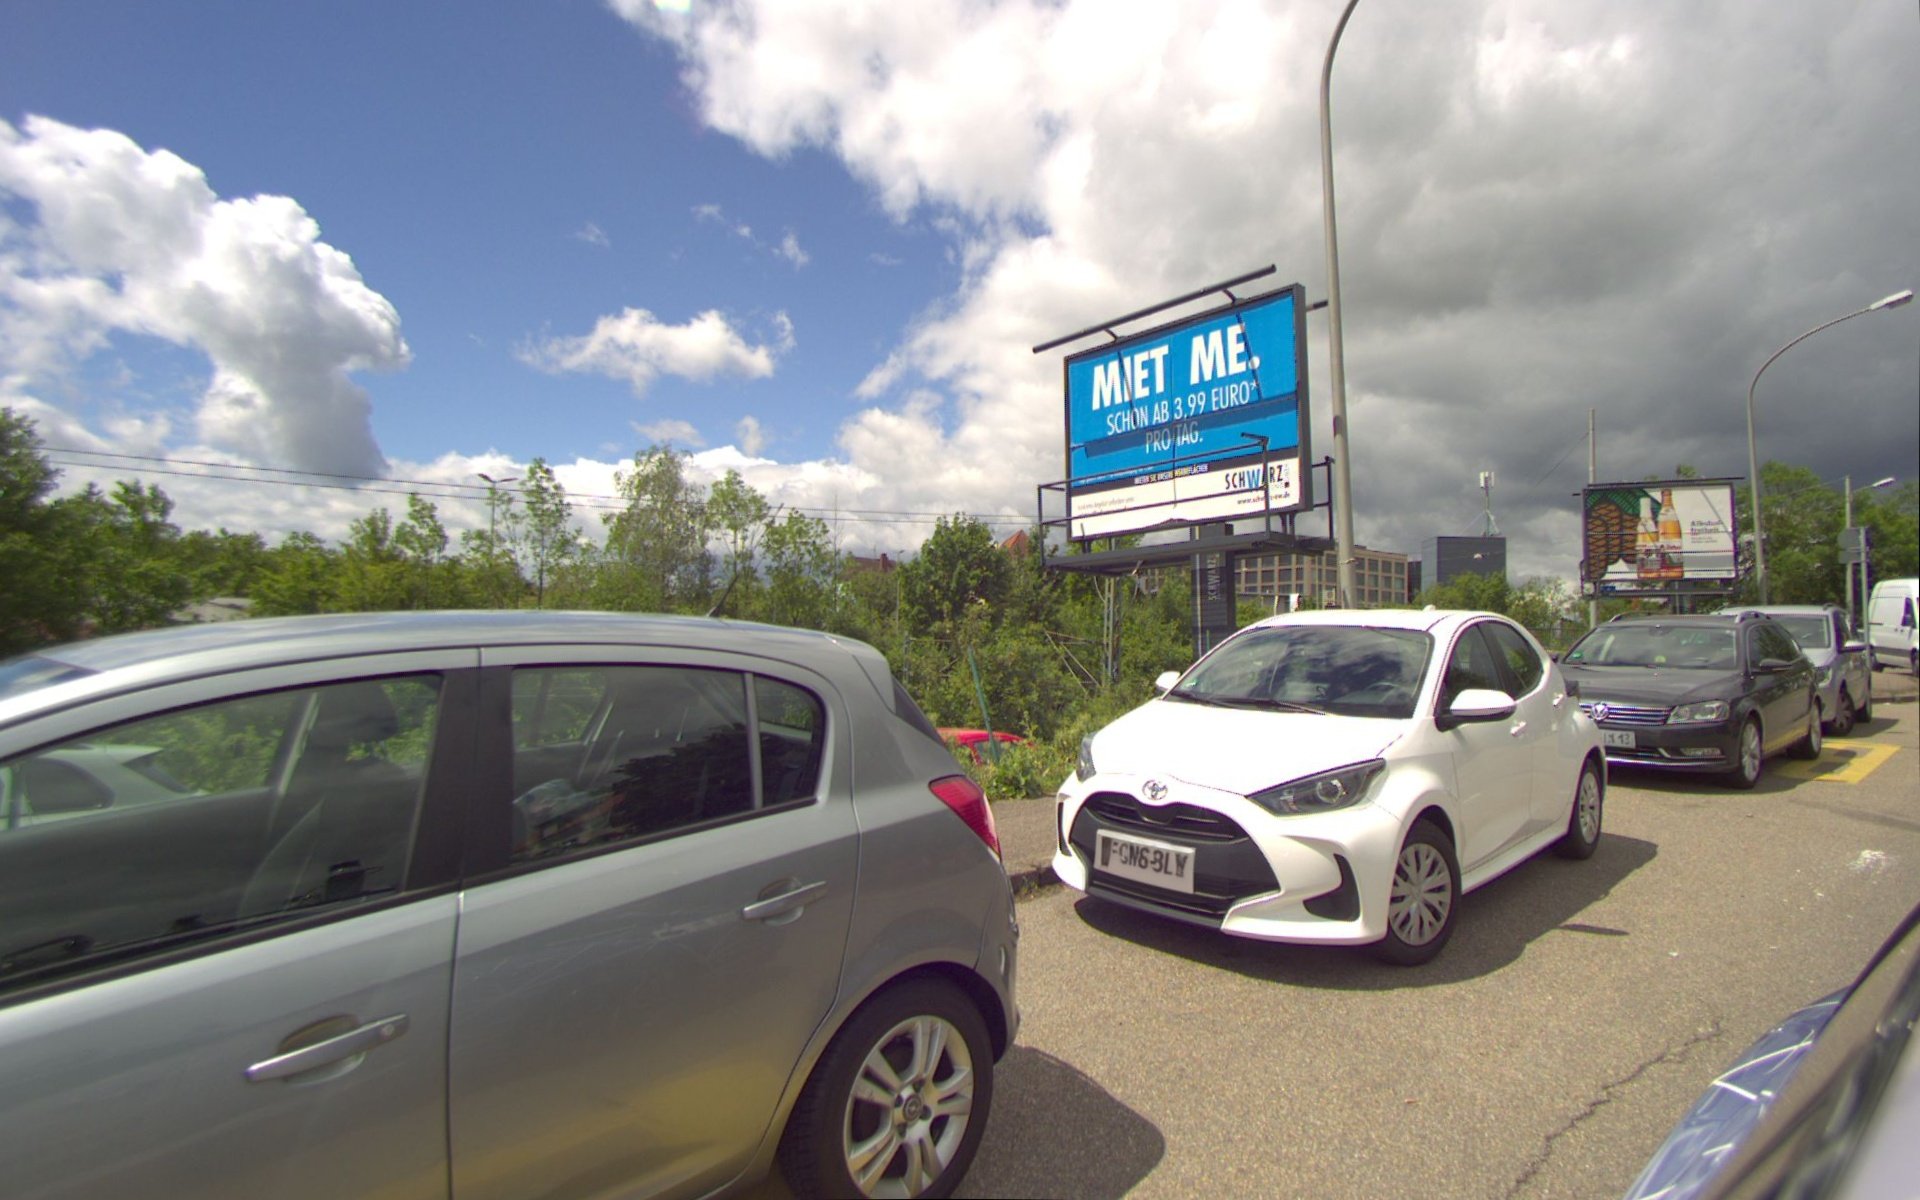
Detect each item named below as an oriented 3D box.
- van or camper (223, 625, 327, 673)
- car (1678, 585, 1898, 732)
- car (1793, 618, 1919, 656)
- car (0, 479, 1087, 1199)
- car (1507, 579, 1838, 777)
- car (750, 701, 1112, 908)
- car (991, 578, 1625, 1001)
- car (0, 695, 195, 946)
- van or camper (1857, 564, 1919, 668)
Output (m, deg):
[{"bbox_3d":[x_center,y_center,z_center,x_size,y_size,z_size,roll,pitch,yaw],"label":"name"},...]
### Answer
[{"bbox_3d":[-41.819,2.990,61.959,5.201,2.727,1.928,0,-3,-34],"label":"van or camper"},{"bbox_3d":[11.374,0.730,13.793,4.234,1.699,1.707,1,-3,-43],"label":"car"},{"bbox_3d":[43.354,1.782,48.891,4.332,1.608,1.992,2,-3,11],"label":"car"},{"bbox_3d":[-1.582,0.641,2.036,3.633,1.530,1.707,1,-3,-43],"label":"car"},{"bbox_3d":[7.101,0.644,9.884,4.494,1.506,1.707,1,-3,-43],"label":"car"},{"bbox_3d":[-0.205,1.978,10.741,3.633,1.530,1.707,1,-3,-43],"label":"car"},{"bbox_3d":[2.141,0.722,5.588,3.891,1.499,1.706,1,-3,-44],"label":"car"},{"bbox_3d":[-7.802,1.523,6.510,4.452,1.530,1.707,1,-3,-43],"label":"car"},{"bbox_3d":[25.750,0.486,26.305,2.173,2.600,5.870,2,-2,27],"label":"van or camper"}]
